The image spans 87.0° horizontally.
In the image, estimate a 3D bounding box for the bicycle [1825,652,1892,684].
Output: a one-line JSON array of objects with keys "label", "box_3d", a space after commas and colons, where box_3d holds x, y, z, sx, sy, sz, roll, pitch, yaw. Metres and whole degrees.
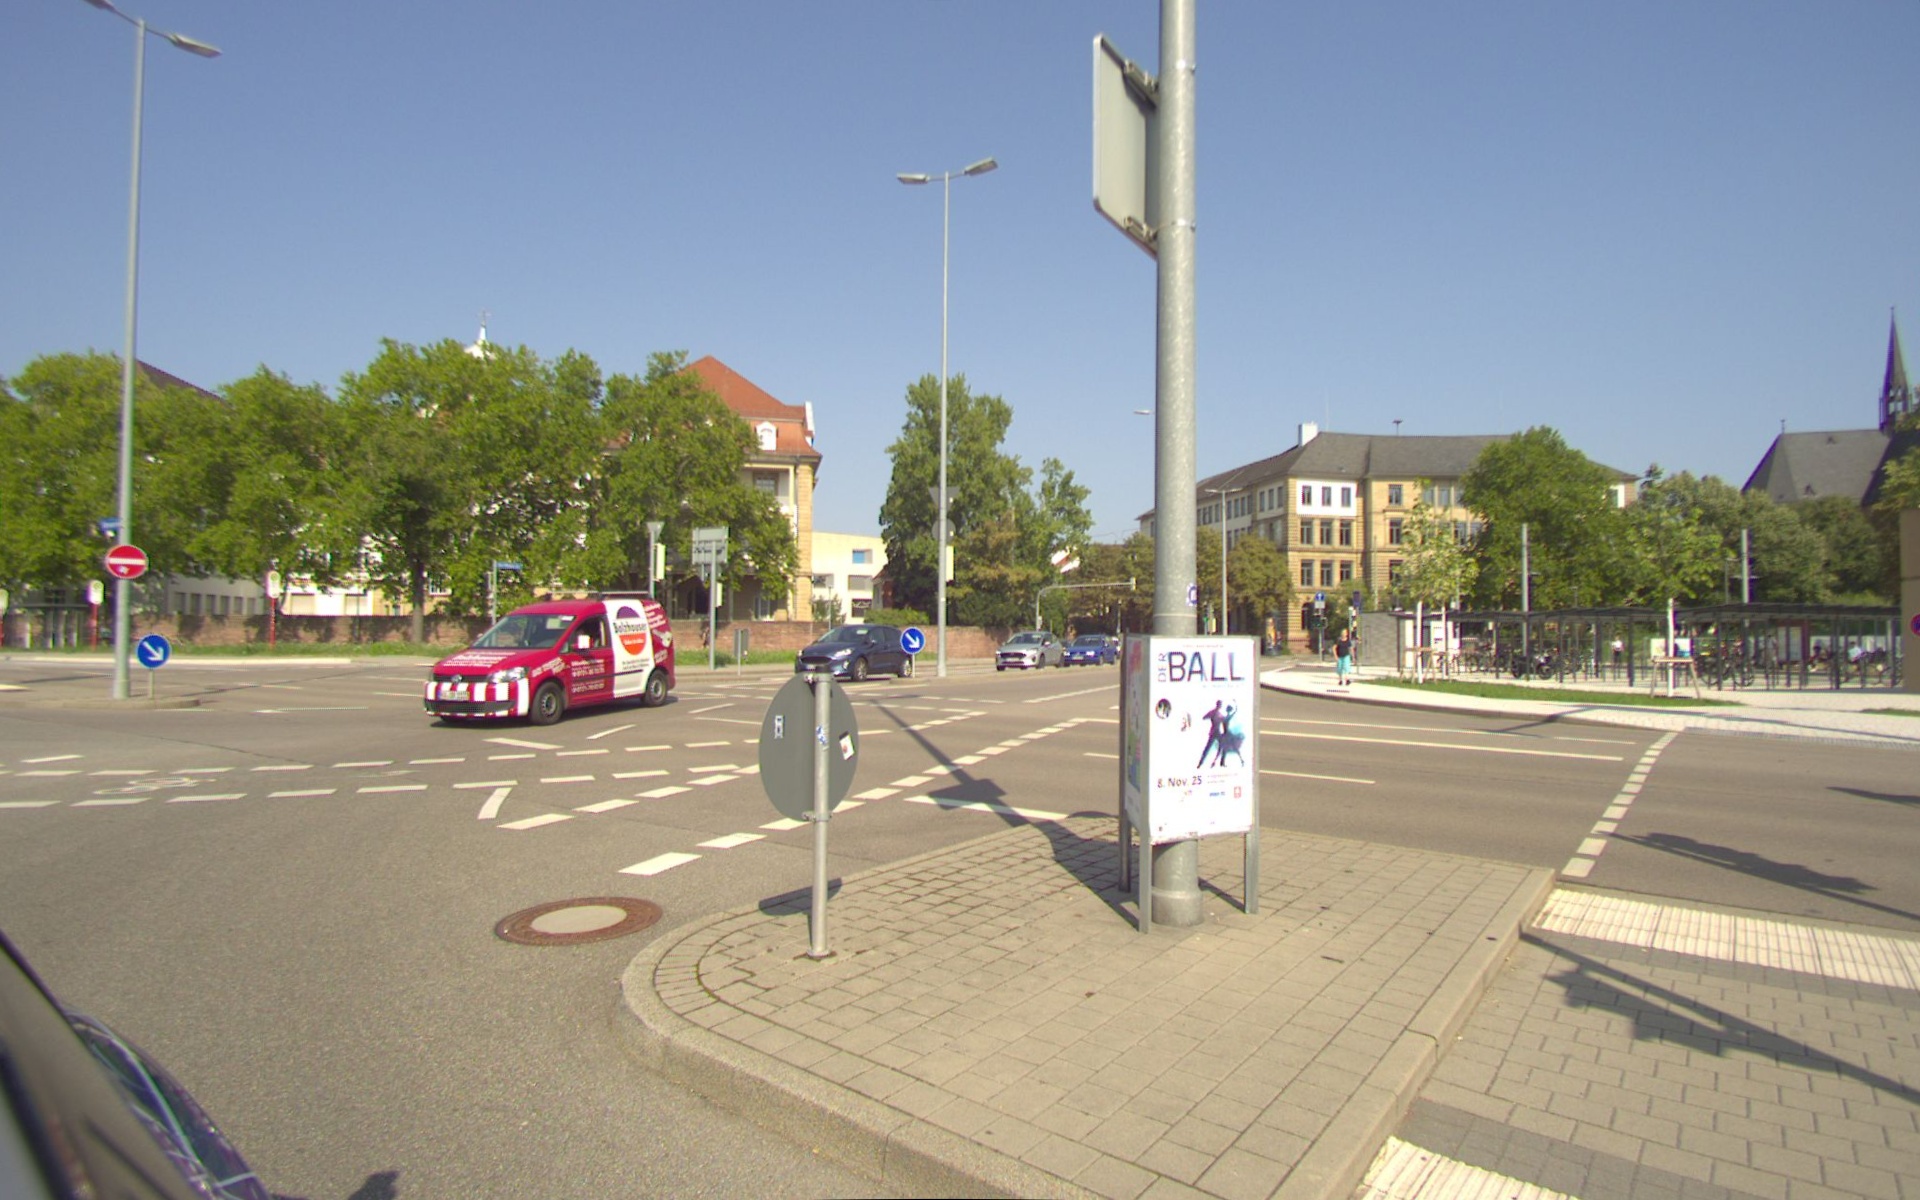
[{"label": "bicycle", "box_3d": [29.792, 2.256, 33.578, 0.395, 1.017, 1.749, 1, -3, -11]}]

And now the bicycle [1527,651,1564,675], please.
[{"label": "bicycle", "box_3d": [25.759, 2.761, 44.524, 0.445, 0.985, 1.592, -1, -2, -11]}]

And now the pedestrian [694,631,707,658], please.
[{"label": "pedestrian", "box_3d": [-16.223, 2.799, 63.393, 0.707, 1.696, 0.595, 1, -3, -8]}]

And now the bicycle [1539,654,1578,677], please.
[{"label": "bicycle", "box_3d": [24.880, 2.717, 42.088, 0.403, 0.899, 1.592, 1, -3, -11]}]

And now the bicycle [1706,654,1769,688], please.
[{"label": "bicycle", "box_3d": [24.800, 2.246, 32.317, 0.395, 1.017, 1.749, 1, -3, -11]}]

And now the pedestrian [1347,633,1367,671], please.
[{"label": "pedestrian", "box_3d": [21.539, 2.794, 54.853, 0.702, 2.029, 0.735, 2, -3, -38]}]

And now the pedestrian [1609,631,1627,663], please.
[{"label": "pedestrian", "box_3d": [36.867, 2.636, 56.719, 0.712, 1.762, 0.386, -1, -3, 22]}]

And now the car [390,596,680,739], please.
[{"label": "car", "box_3d": [-6.168, 0.922, 15.305, 1.723, 1.833, 4.253, -1, -1, 17]}]

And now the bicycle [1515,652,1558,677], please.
[{"label": "bicycle", "box_3d": [23.867, 2.669, 41.926, 0.525, 0.994, 1.717, 1, -3, -11]}]

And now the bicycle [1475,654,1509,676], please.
[{"label": "bicycle", "box_3d": [23.002, 2.805, 43.780, 0.395, 0.899, 1.592, 1, -3, -11]}]

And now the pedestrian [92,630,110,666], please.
[{"label": "pedestrian", "box_3d": [-51.987, 2.914, 61.252, 0.587, 2.121, 0.519, -2, -4, 6]}]

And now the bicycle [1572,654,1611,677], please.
[{"label": "bicycle", "box_3d": [26.231, 2.707, 42.071, 0.403, 0.899, 1.592, 1, -3, -11]}]

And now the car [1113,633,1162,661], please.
[{"label": "car", "box_3d": [10.418, 2.740, 59.282, 1.987, 1.564, 3.969, -1, -2, 23]}]

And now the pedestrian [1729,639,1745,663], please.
[{"label": "pedestrian", "box_3d": [39.948, 2.609, 52.008, 0.432, 1.234, 0.384, -1, -4, -10]}]

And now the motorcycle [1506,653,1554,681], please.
[{"label": "motorcycle", "box_3d": [21.186, 2.477, 37.671, 0.534, 1.017, 1.749, 1, -3, -11]}]

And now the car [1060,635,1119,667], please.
[{"label": "car", "box_3d": [5.856, 2.260, 45.331, 1.597, 1.339, 4.300, -1, -2, 22]}]

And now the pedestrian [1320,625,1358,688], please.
[{"label": "pedestrian", "box_3d": [9.856, 1.458, 26.328, 0.744, 1.577, 0.666, 2, -2, 6]}]

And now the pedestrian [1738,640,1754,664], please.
[{"label": "pedestrian", "box_3d": [40.063, 2.651, 51.570, 0.432, 1.234, 0.384, -1, -4, -10]}]

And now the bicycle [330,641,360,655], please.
[{"label": "bicycle", "box_3d": [-37.560, 2.957, 61.783, 1.528, 0.842, 0.434, 0, -3, -1]}]

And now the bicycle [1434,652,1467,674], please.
[{"label": "bicycle", "box_3d": [21.060, 2.719, 43.503, 0.395, 0.899, 1.592, 1, -2, -11]}]

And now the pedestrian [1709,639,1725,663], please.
[{"label": "pedestrian", "box_3d": [39.121, 2.652, 52.282, 0.432, 1.234, 0.384, -1, -4, -10]}]

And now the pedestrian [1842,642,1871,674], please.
[{"label": "pedestrian", "box_3d": [39.544, 2.555, 44.635, 0.651, 1.405, 0.645, 1, -3, -13]}]

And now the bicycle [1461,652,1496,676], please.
[{"label": "bicycle", "box_3d": [22.368, 2.750, 43.703, 0.415, 0.975, 1.592, 1, -3, -11]}]

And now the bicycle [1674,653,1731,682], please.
[{"label": "bicycle", "box_3d": [27.469, 2.478, 37.475, 0.454, 1.017, 1.879, 1, -3, -11]}]

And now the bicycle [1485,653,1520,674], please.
[{"label": "bicycle", "box_3d": [23.493, 2.741, 43.877, 0.403, 0.899, 1.592, 1, -3, -11]}]

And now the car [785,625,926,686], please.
[{"label": "car", "box_3d": [-2.561, 1.404, 25.855, 1.631, 1.438, 4.284, -2, -3, 25]}]

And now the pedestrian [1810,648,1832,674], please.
[{"label": "pedestrian", "box_3d": [39.314, 2.786, 46.229, 0.460, 1.206, 0.575, 1, -3, -10]}]

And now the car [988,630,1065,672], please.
[{"label": "car", "box_3d": [2.496, 1.858, 37.145, 1.709, 1.444, 3.831, -1, -2, 22]}]
